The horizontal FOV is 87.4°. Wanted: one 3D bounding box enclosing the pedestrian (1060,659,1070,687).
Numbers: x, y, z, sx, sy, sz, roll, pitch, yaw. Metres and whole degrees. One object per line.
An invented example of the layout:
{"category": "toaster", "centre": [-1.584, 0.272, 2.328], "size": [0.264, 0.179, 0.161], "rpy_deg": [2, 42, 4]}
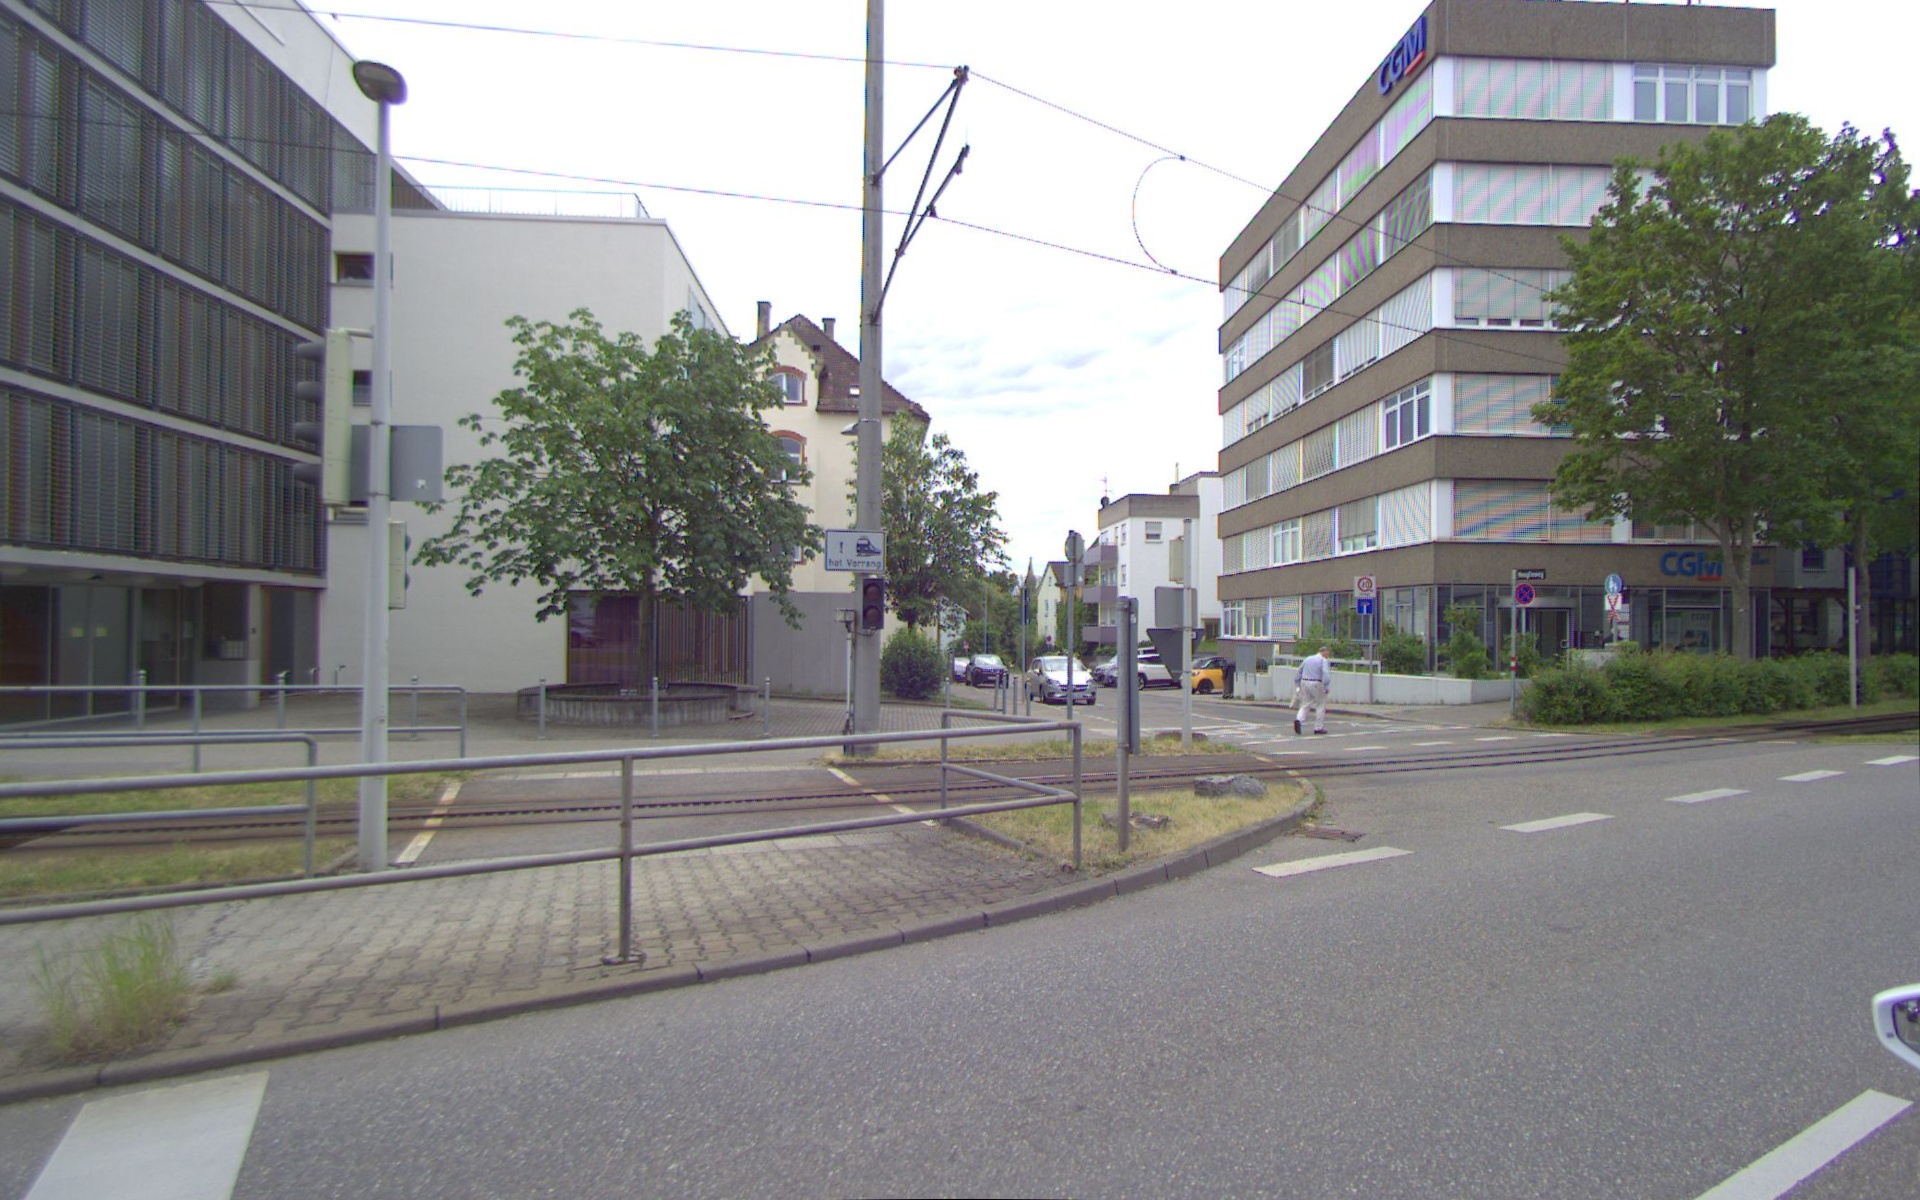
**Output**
{"category": "pedestrian", "centre": [6.696, 4.629, 63.873], "size": [0.520, 1.751, 0.467], "rpy_deg": [0, -2, -5]}

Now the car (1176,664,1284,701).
{"category": "car", "centre": [11.109, 3.378, 41.465], "size": [3.926, 1.443, 1.729], "rpy_deg": [0, -4, -8]}

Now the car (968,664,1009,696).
{"category": "car", "centre": [1.416, 4.043, 50.802], "size": [1.644, 1.521, 3.999], "rpy_deg": [0, -4, -5]}

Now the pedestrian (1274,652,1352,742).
{"category": "pedestrian", "centre": [6.272, 1.703, 17.858], "size": [0.984, 1.546, 0.844], "rpy_deg": [1, -4, -30]}

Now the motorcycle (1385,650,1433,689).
{"category": "motorcycle", "centre": [14.534, 2.239, 32.585], "size": [0.557, 1.214, 1.884], "rpy_deg": [0, -3, -5]}

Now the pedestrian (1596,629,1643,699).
{"category": "pedestrian", "centre": [16.602, 1.598, 25.287], "size": [0.674, 1.727, 0.685], "rpy_deg": [1, -4, -26]}

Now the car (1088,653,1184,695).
{"category": "car", "centre": [9.194, 3.860, 52.578], "size": [4.601, 2.094, 1.853], "rpy_deg": [0, -4, -8]}

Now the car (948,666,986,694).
{"category": "car", "centre": [0.425, 4.894, 62.031], "size": [1.865, 1.550, 3.997], "rpy_deg": [0, -2, -7]}

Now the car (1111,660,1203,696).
{"category": "car", "centre": [9.335, 3.706, 47.757], "size": [3.926, 1.594, 1.853], "rpy_deg": [0, -4, -8]}

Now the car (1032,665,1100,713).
{"category": "car", "centre": [3.276, 2.778, 31.665], "size": [1.610, 1.376, 4.001], "rpy_deg": [0, -4, -2]}
